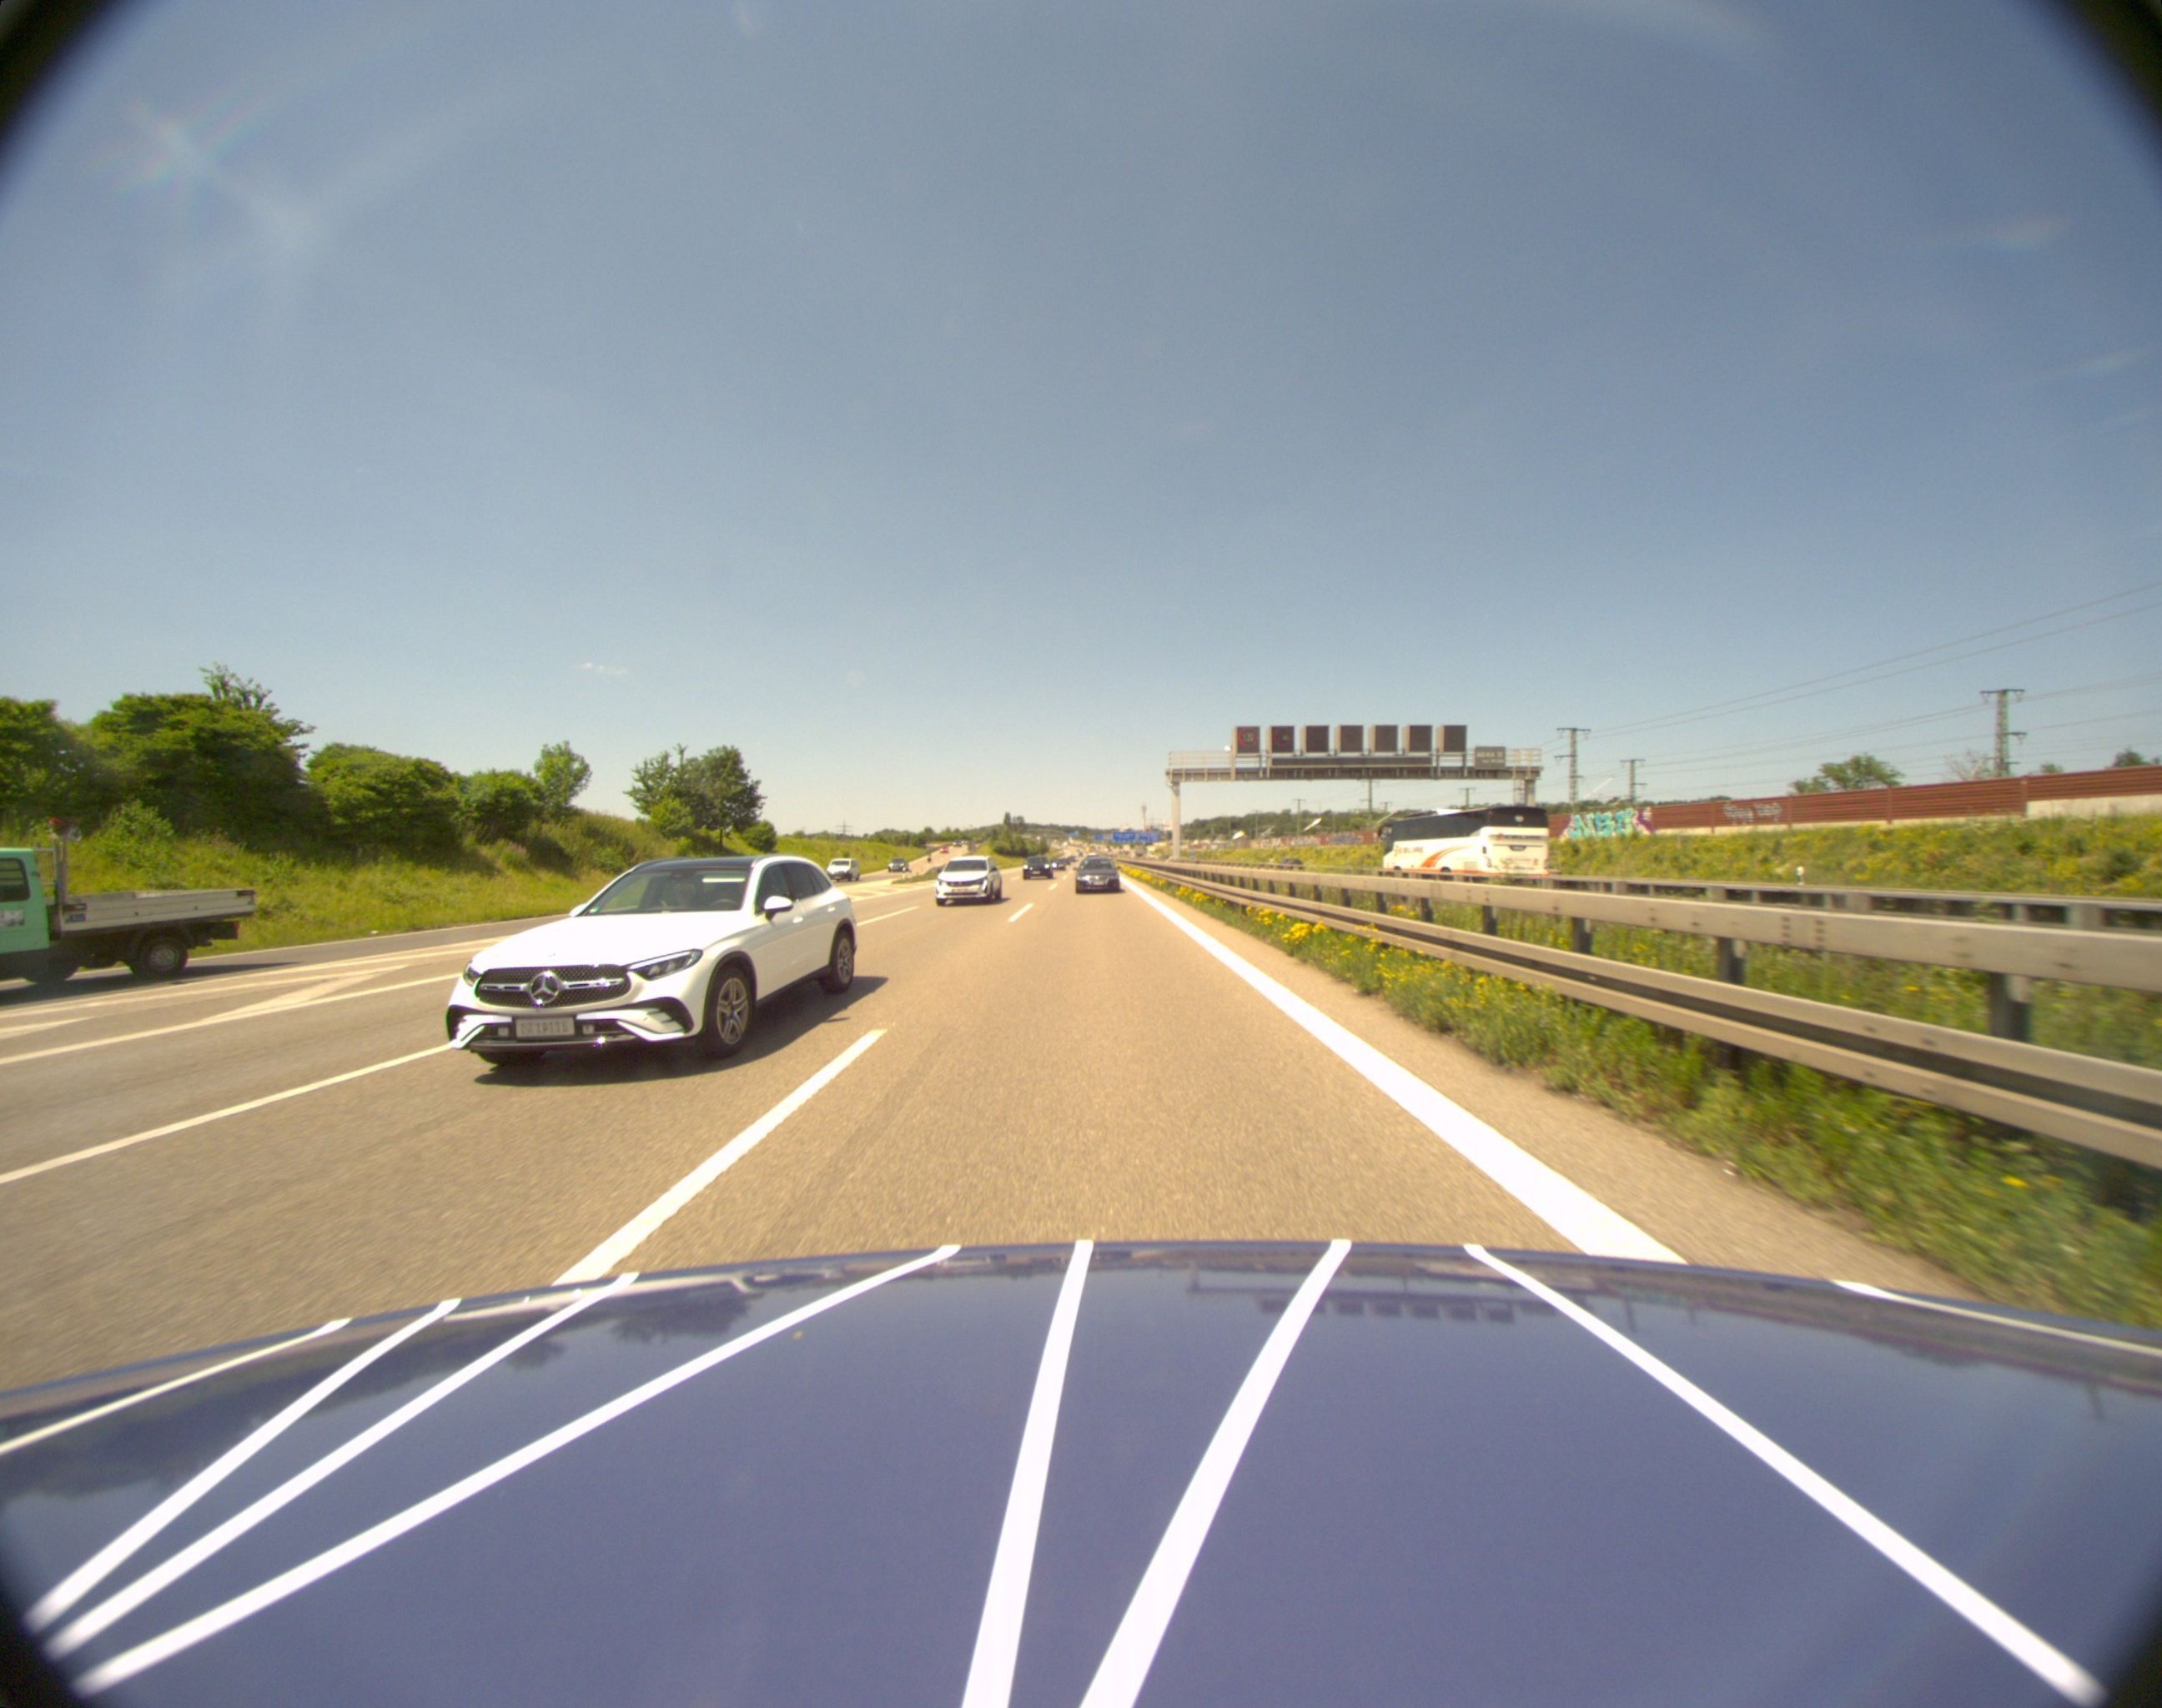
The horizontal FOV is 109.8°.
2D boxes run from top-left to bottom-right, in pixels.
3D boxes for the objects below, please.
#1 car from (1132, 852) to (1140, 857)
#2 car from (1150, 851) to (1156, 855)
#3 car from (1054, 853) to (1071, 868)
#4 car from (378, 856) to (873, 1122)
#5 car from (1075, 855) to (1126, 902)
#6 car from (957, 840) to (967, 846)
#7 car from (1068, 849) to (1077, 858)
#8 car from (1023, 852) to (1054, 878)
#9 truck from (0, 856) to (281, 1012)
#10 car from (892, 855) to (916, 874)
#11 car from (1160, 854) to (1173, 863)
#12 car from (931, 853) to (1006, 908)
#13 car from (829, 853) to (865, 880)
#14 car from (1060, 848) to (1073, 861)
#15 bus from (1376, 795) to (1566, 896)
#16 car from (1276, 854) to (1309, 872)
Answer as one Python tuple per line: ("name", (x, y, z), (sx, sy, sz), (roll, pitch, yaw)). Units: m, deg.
("car", (16.401, 0.227, 226.911), (1.917, 1.535, 4.809), (-1, 0, 1))
("car", (24.414, -0.311, 258.240), (1.724, 1.535, 3.809), (-1, 0, 1))
("car", (-1.968, 0.668, 80.076), (1.752, 1.462, 3.998), (-2, 2, -2))
("car", (-3.675, 0.912, 7.402), (1.909, 1.646, 4.636), (-2, 1, 1))
("car", (0.674, 0.873, 28.820), (1.752, 1.462, 3.998), (-2, 2, 0))
("car", (-32.838, -3.059, 209.952), (1.983, 1.620, 4.615), (-2, 1, -1))
("car", (-1.929, -0.127, 168.258), (1.999, 2.002, 3.999), (-2, 1, 0))
("car", (-2.974, 0.732, 54.102), (1.983, 1.620, 4.615), (-2, 1, -1))
("truck", (-15.736, 1.114, 10.860), (2.170, 2.080, 6.117), (-1, 0, -1))
("car", (-21.284, 1.196, 91.312), (1.999, 2.002, 3.998), (-3, 2, -3))
("car", (14.747, 0.777, 130.776), (1.808, 1.565, 4.000), (-1, 0, 1))
("car", (-3.831, 0.853, 26.718), (1.898, 1.620, 4.616), (-2, 1, 0))
("car", (-19.764, 0.993, 64.299), (2.000, 2.159, 4.890), (-1, 0, -7))
("car", (-2.490, 0.038, 131.306), (1.999, 2.002, 3.999), (-2, 1, 0))
("bus", (16.728, -0.325, 33.897), (2.864, 3.624, 10.940), (-3, 0, 1))
("car", (17.917, 0.734, 64.483), (1.696, 1.465, 4.000), (1, 0, 1))
